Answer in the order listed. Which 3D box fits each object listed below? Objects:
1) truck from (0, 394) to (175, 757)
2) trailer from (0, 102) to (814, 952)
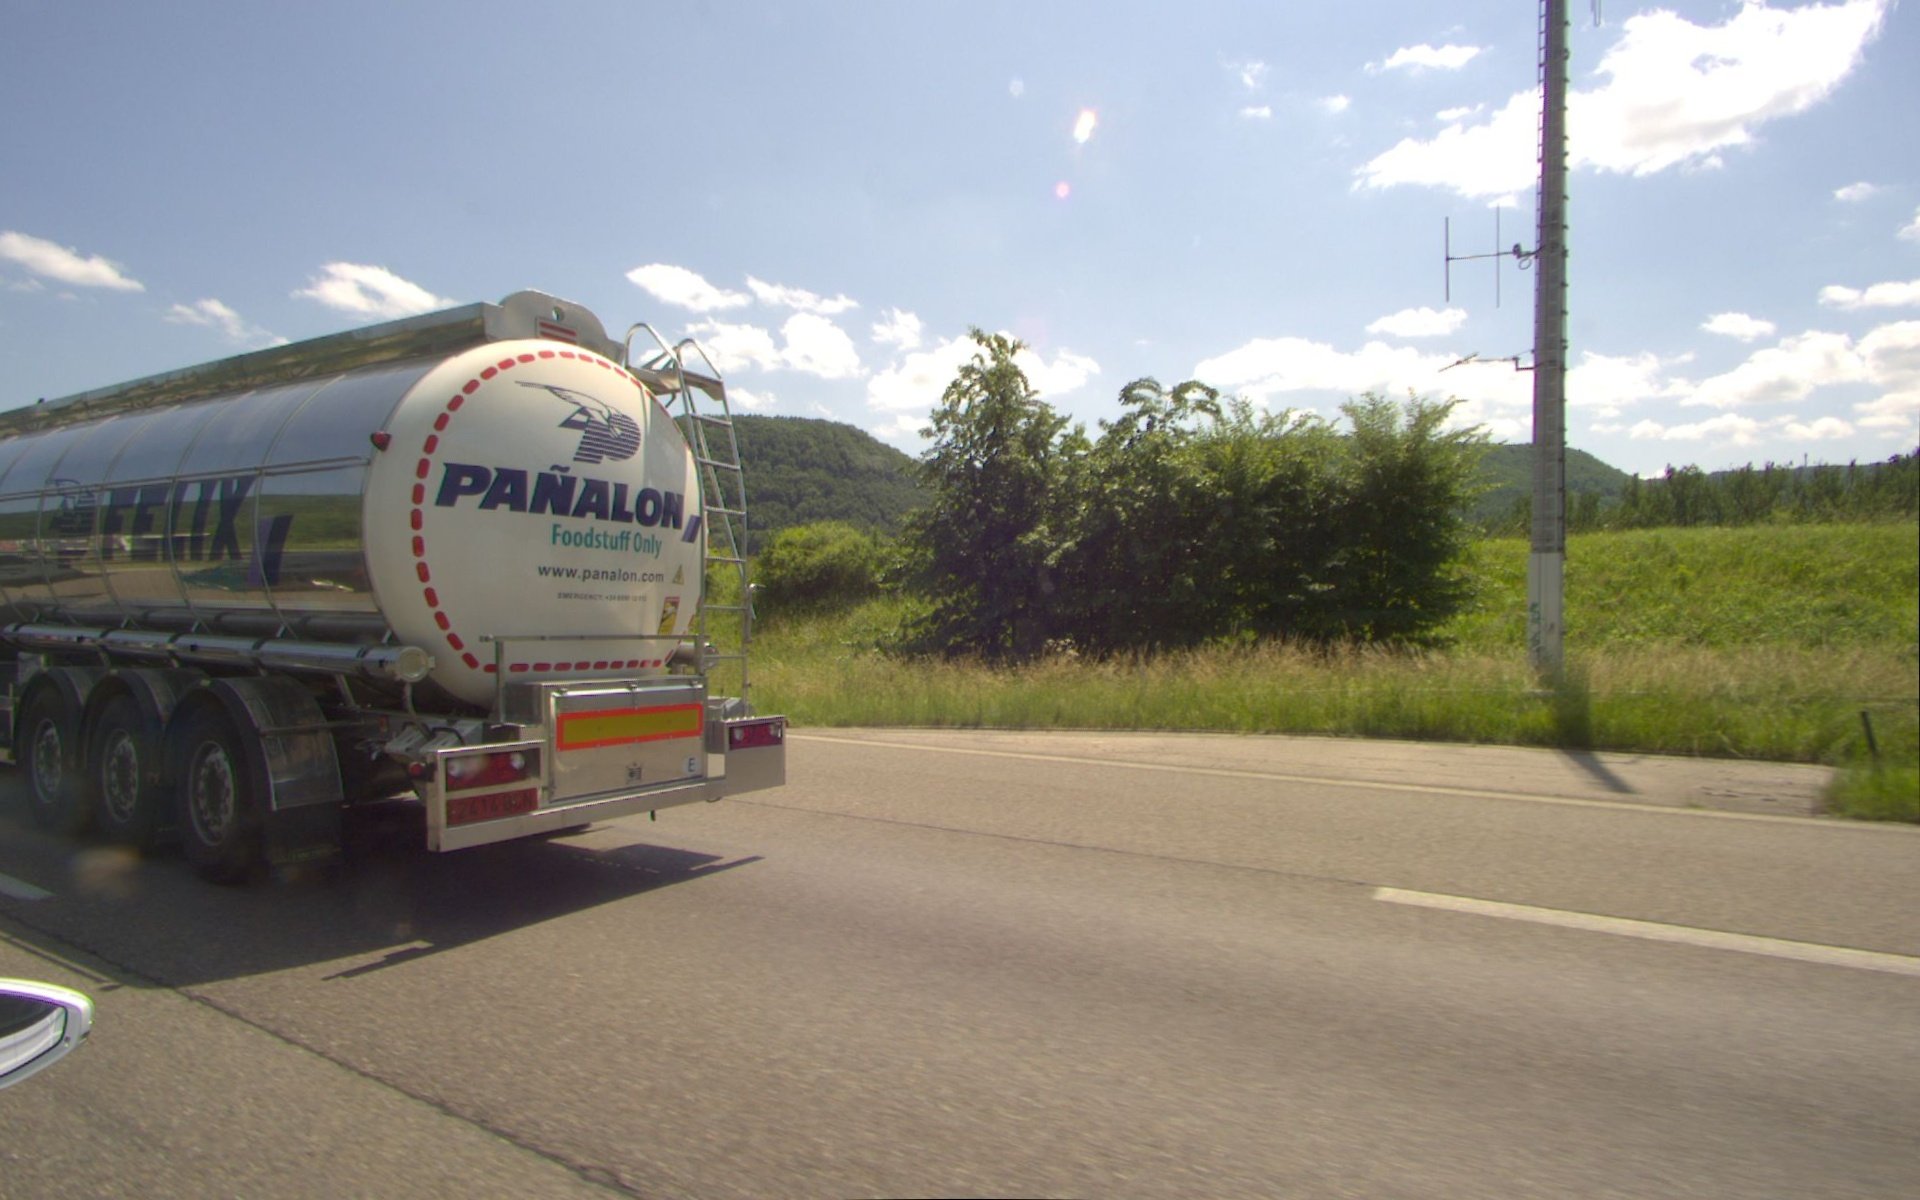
[{"bbox_3d":[-12.121,-0.227,12.109,5.169,3.807,2.507,0,-1,32],"label":"truck"},{"bbox_3d":[-6.601,-0.250,8.641,11.719,3.784,2.534,0,-1,32],"label":"trailer"}]
